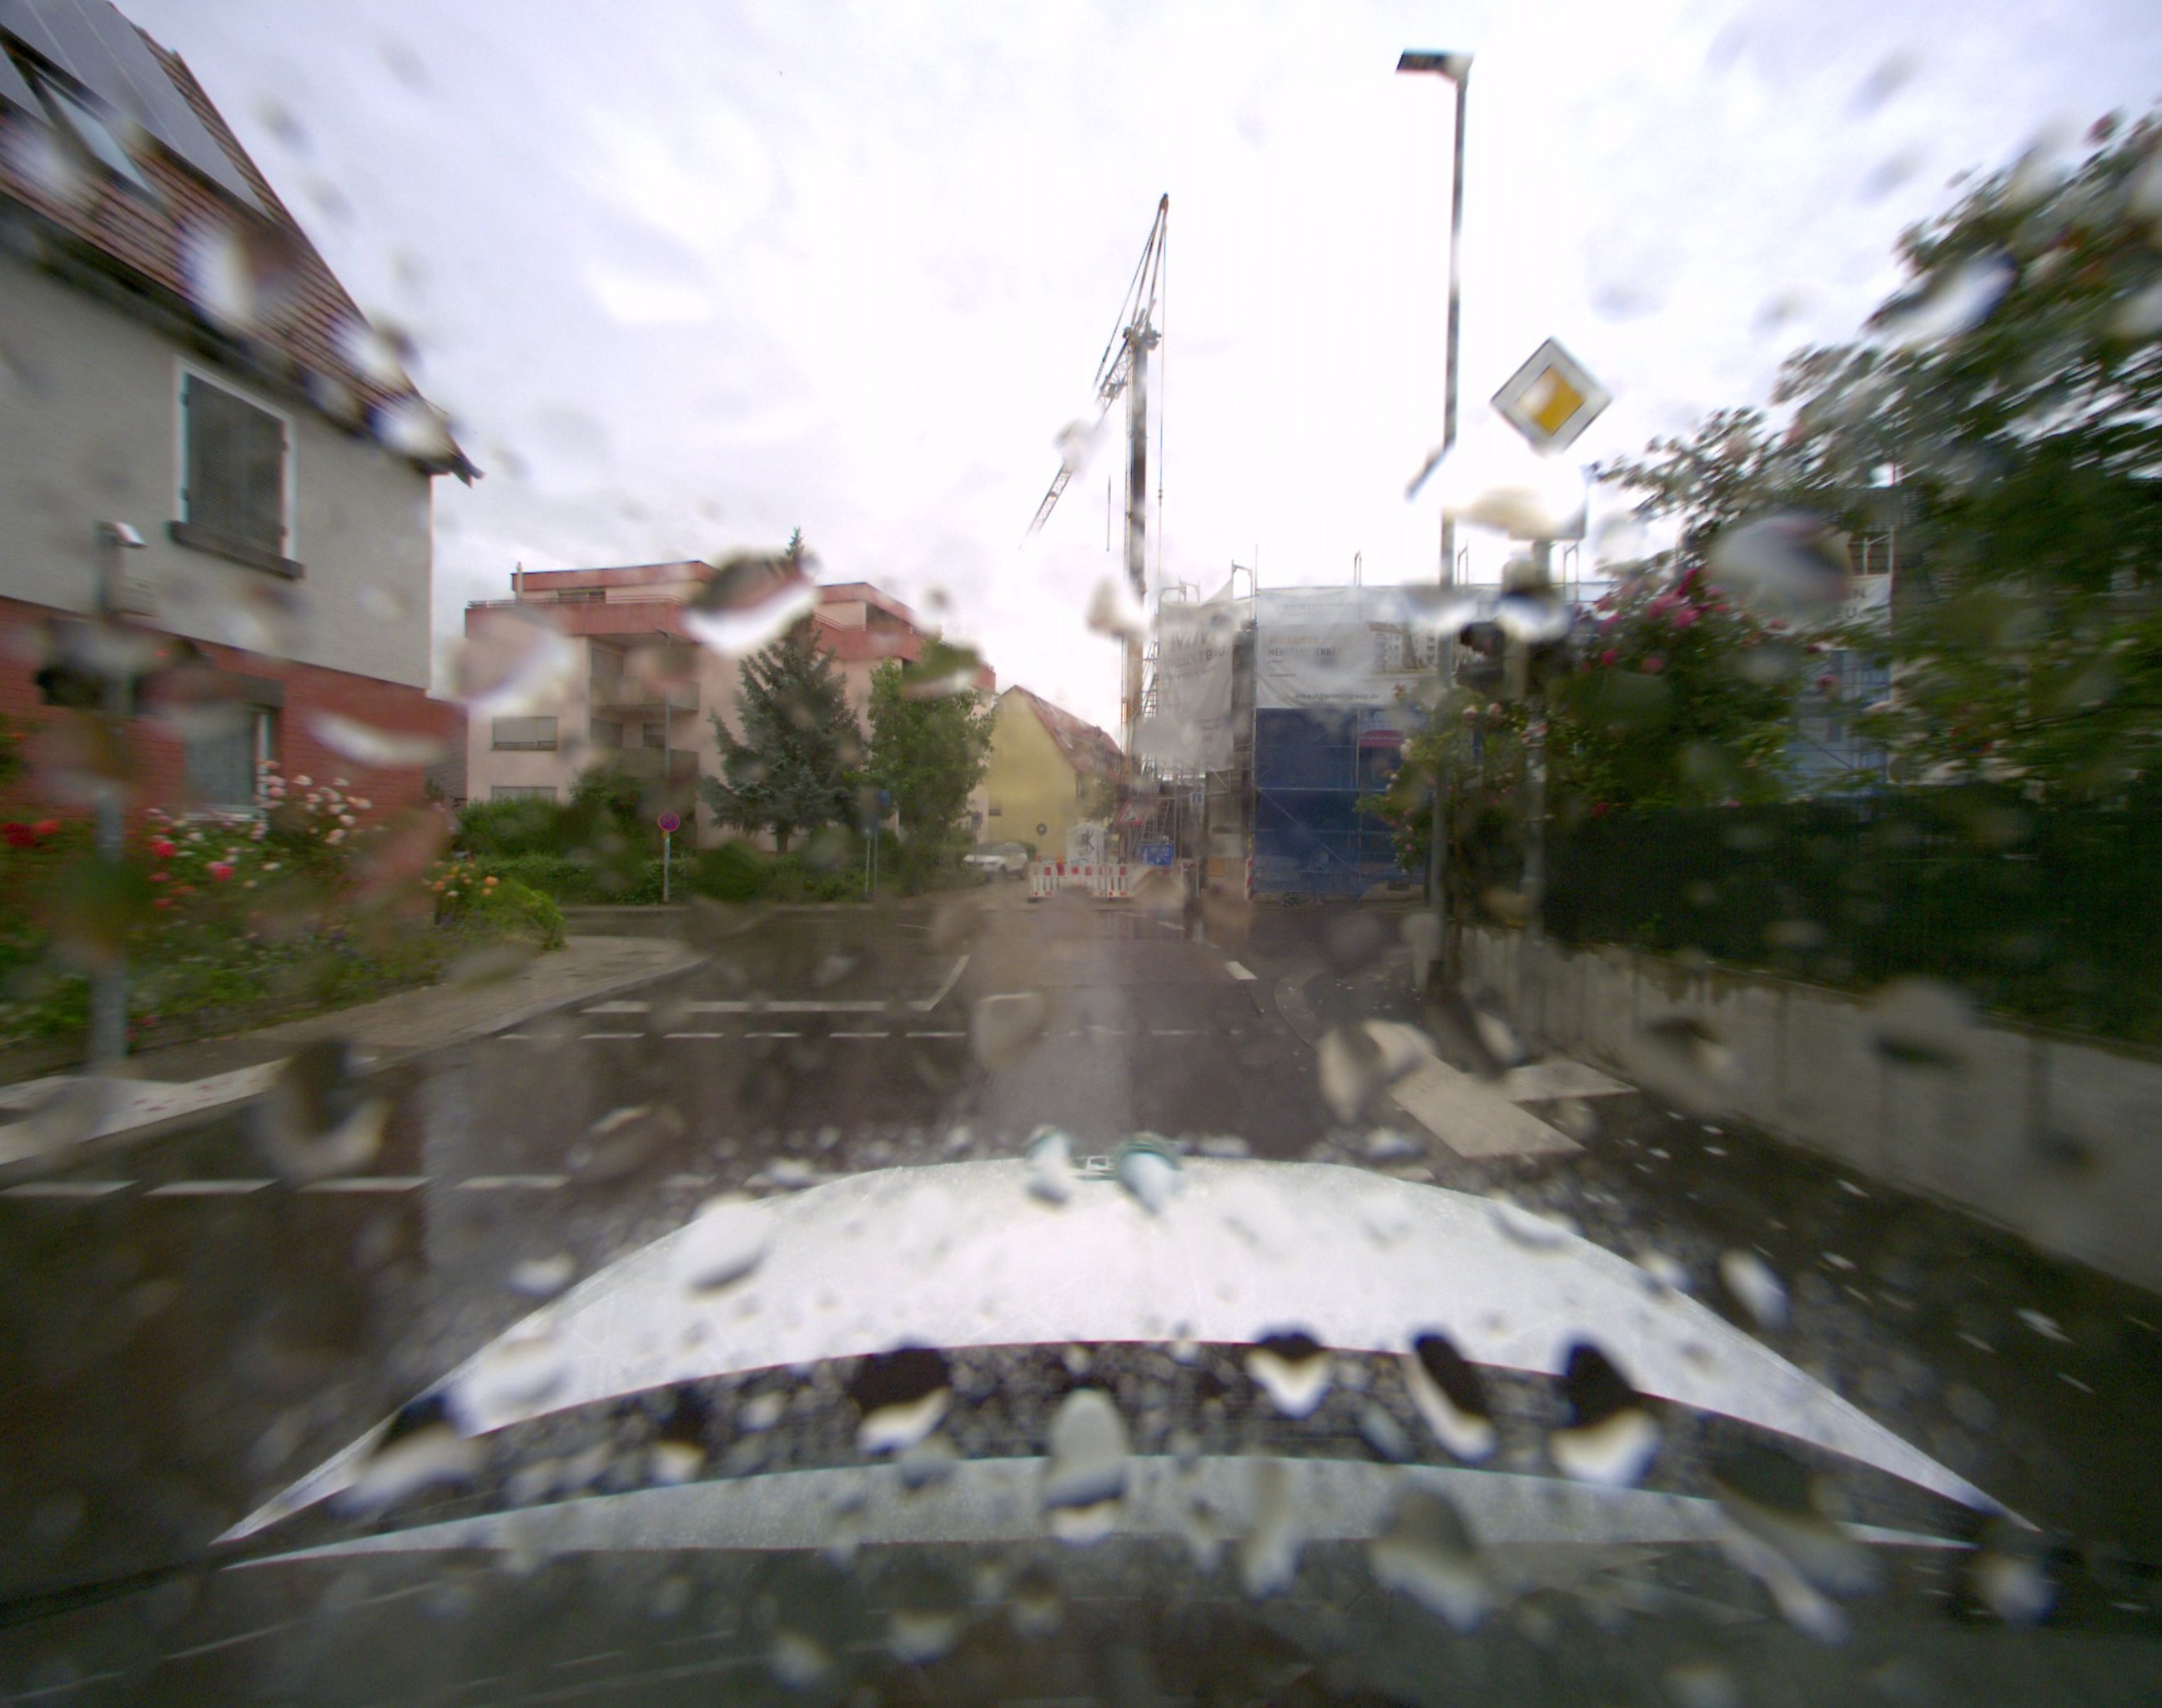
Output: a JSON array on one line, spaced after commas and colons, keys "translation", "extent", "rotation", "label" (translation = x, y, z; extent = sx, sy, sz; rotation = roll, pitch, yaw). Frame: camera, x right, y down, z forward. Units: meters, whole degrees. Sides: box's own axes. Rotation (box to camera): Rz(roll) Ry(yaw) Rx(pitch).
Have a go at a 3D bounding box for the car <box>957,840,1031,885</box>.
[{"translation": [-3.521, 0.301, 33.757], "extent": [1.588, 1.677, 3.956], "rotation": [2, 2, 16], "label": "car"}]
